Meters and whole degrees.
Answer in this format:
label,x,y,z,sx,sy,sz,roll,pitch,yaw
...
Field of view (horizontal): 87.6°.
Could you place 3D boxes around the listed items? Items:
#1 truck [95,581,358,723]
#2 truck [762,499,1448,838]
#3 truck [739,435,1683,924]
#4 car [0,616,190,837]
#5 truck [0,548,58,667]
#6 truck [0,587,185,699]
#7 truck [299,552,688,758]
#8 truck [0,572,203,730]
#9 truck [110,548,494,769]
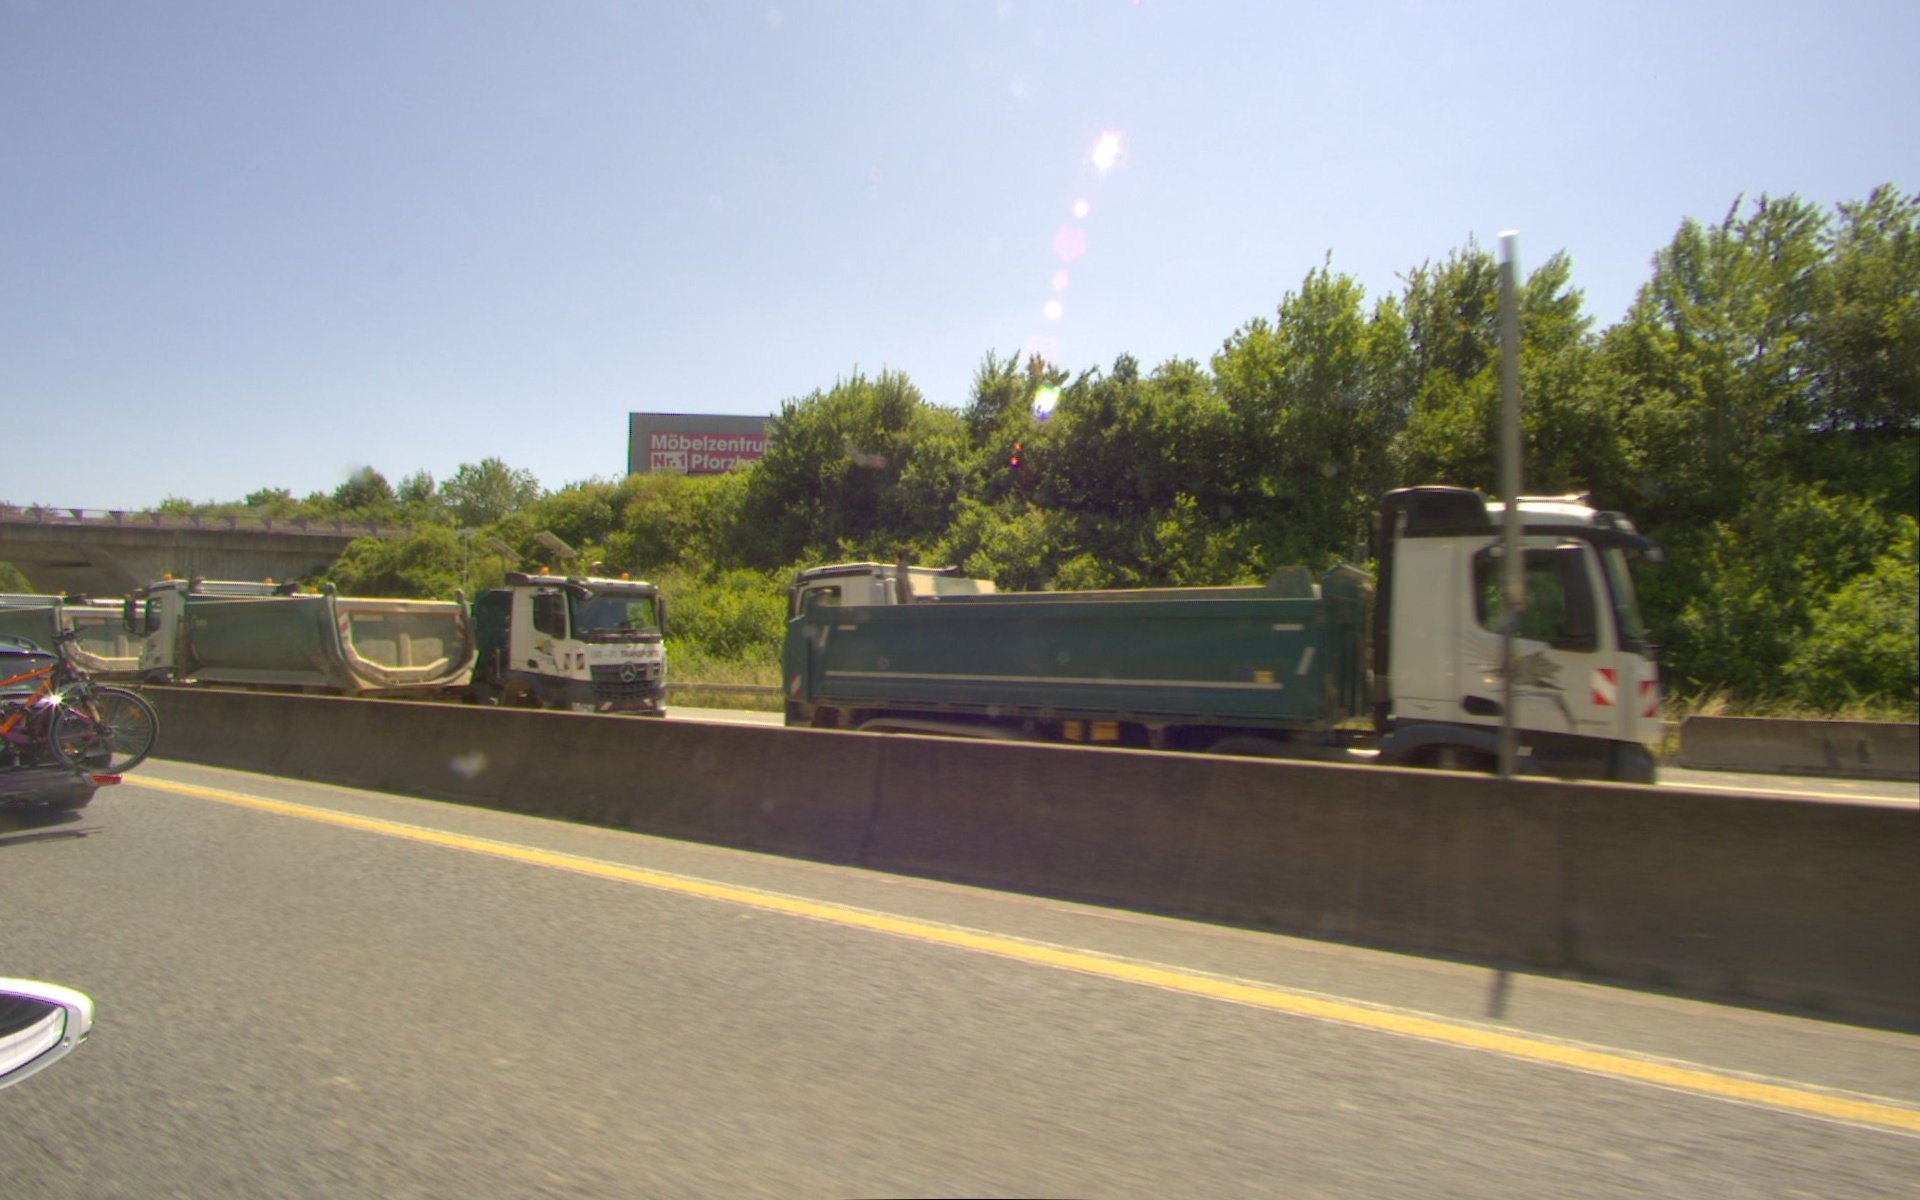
label,x,y,z,sx,sy,sz,roll,pitch,yaw
truck,-20.566,1.356,27.820,9.466,3.421,2.682,-1,-2,33
truck,1.618,0.828,14.339,9.464,3.602,2.683,-1,-2,32
truck,1.956,0.677,10.967,9.463,3.602,2.535,-1,-2,32
car,-8.554,0.923,8.309,4.877,1.509,1.896,-1,-2,33
truck,-33.090,0.284,32.784,9.188,3.602,2.684,-1,-2,31
truck,-30.256,1.406,34.194,9.461,3.421,2.684,-1,-2,31
truck,-10.105,1.059,21.140,9.463,3.602,2.683,-1,-2,32
truck,-23.680,1.262,26.554,9.272,3.602,2.682,-1,-2,33
truck,-13.397,1.054,20.000,9.464,3.602,2.683,-1,-2,32
